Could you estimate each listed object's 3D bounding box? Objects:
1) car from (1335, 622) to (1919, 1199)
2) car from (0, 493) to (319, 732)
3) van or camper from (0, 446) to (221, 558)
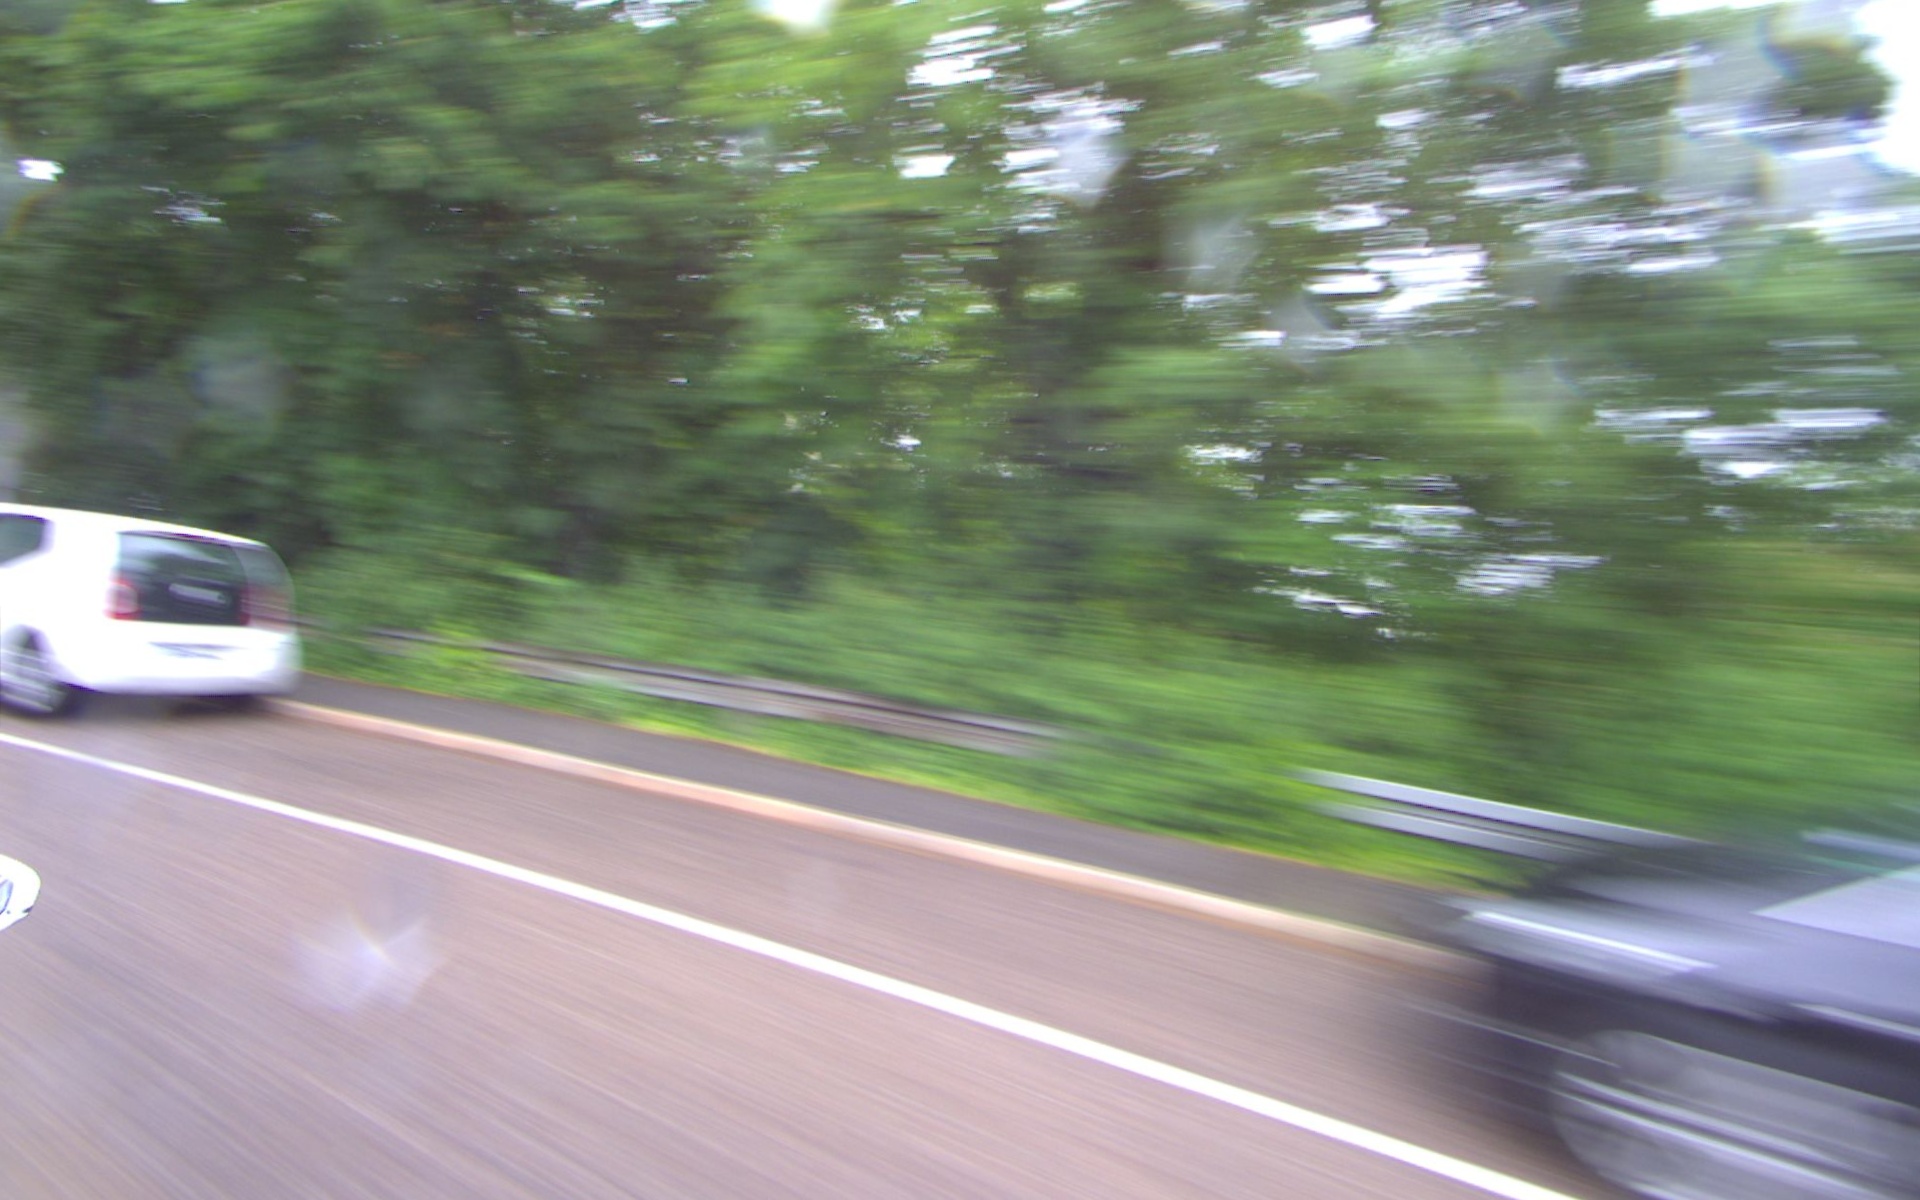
[{"bbox_3d":[3.619,1.131,2.722,4.518,1.532,1.720,7,0,31],"label":"car"},{"bbox_3d":[-7.261,-0.004,8.012,3.598,1.518,1.592,7,-2,19],"label":"car"},{"bbox_3d":[-36.120,-4.040,42.270,2.162,2.963,7.669,13,-1,25],"label":"van or camper"}]
